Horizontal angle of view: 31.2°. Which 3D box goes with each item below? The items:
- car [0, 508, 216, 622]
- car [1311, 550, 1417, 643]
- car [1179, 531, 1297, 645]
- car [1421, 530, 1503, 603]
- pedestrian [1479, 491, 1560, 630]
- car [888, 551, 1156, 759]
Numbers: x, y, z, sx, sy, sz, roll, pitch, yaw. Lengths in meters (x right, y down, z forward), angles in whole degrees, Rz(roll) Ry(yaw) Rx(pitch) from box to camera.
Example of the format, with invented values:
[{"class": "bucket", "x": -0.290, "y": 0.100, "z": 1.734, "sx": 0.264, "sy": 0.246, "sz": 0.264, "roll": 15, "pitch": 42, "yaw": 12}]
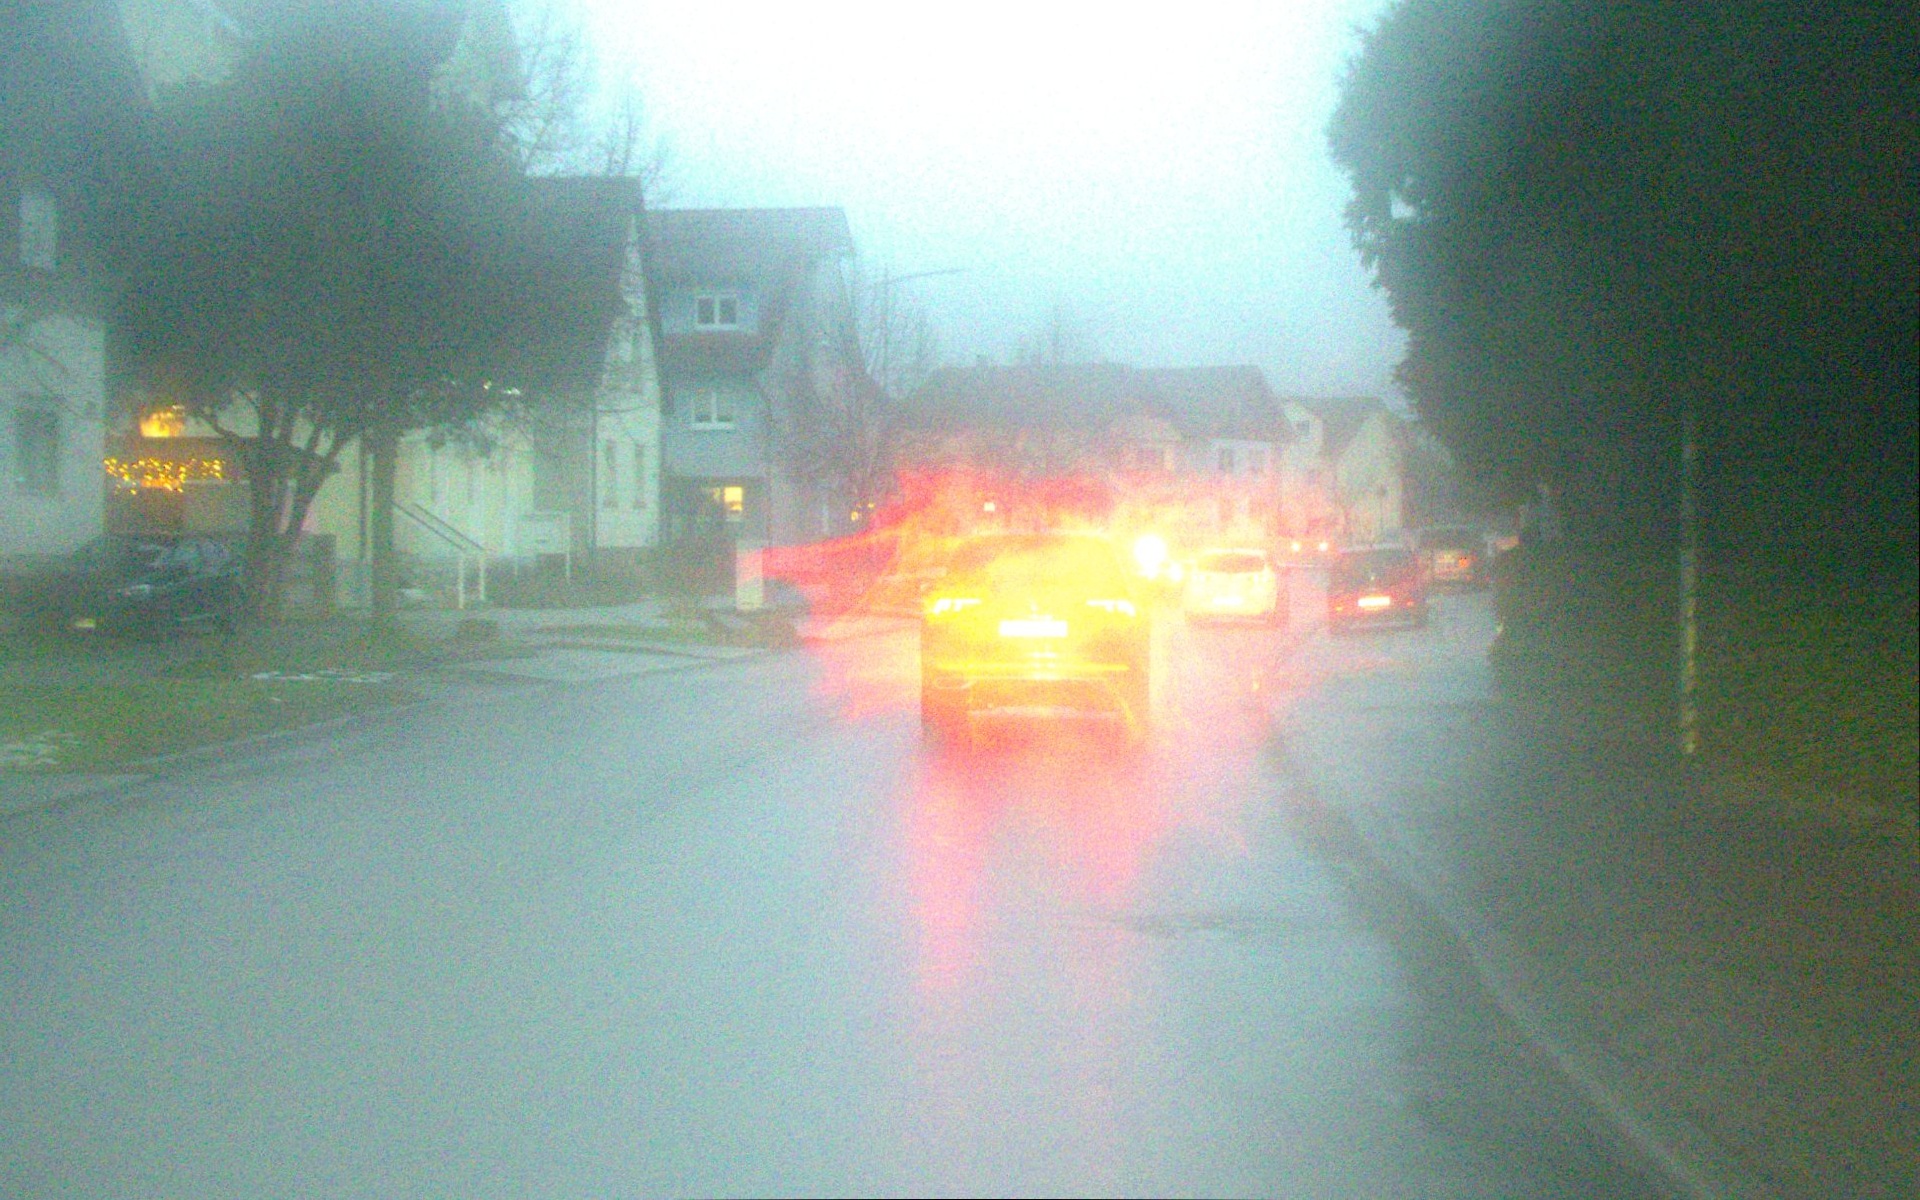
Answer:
[{"class": "car", "x": -11.258, "y": -0.437, "z": 44.568, "sx": 1.782, "sy": 1.361, "sz": 3.998, "roll": 2, "pitch": 0, "yaw": 9}, {"class": "car", "x": 6.998, "y": -0.061, "z": 59.332, "sx": 1.650, "sy": 1.535, "sz": 3.389, "roll": 1, "pitch": 0, "yaw": 9}, {"class": "car", "x": 5.265, "y": -0.222, "z": 64.670, "sx": 1.994, "sy": 2.007, "sz": 3.999, "roll": 2, "pitch": 0, "yaw": 7}, {"class": "car", "x": 14.447, "y": -0.973, "z": 98.762, "sx": 1.978, "sy": 2.007, "sz": 5.742, "roll": -1, "pitch": 1, "yaw": 12}, {"class": "pedestrian", "x": 7.111, "y": -0.496, "z": 43.761, "sx": 0.988, "sy": 1.736, "sz": 1.055, "roll": -1, "pitch": 0, "yaw": 8}, {"class": "car", "x": 0.549, "y": 0.399, "z": 28.140, "sx": 1.994, "sy": 1.520, "sz": 4.000, "roll": 2, "pitch": 1, "yaw": 2}]
